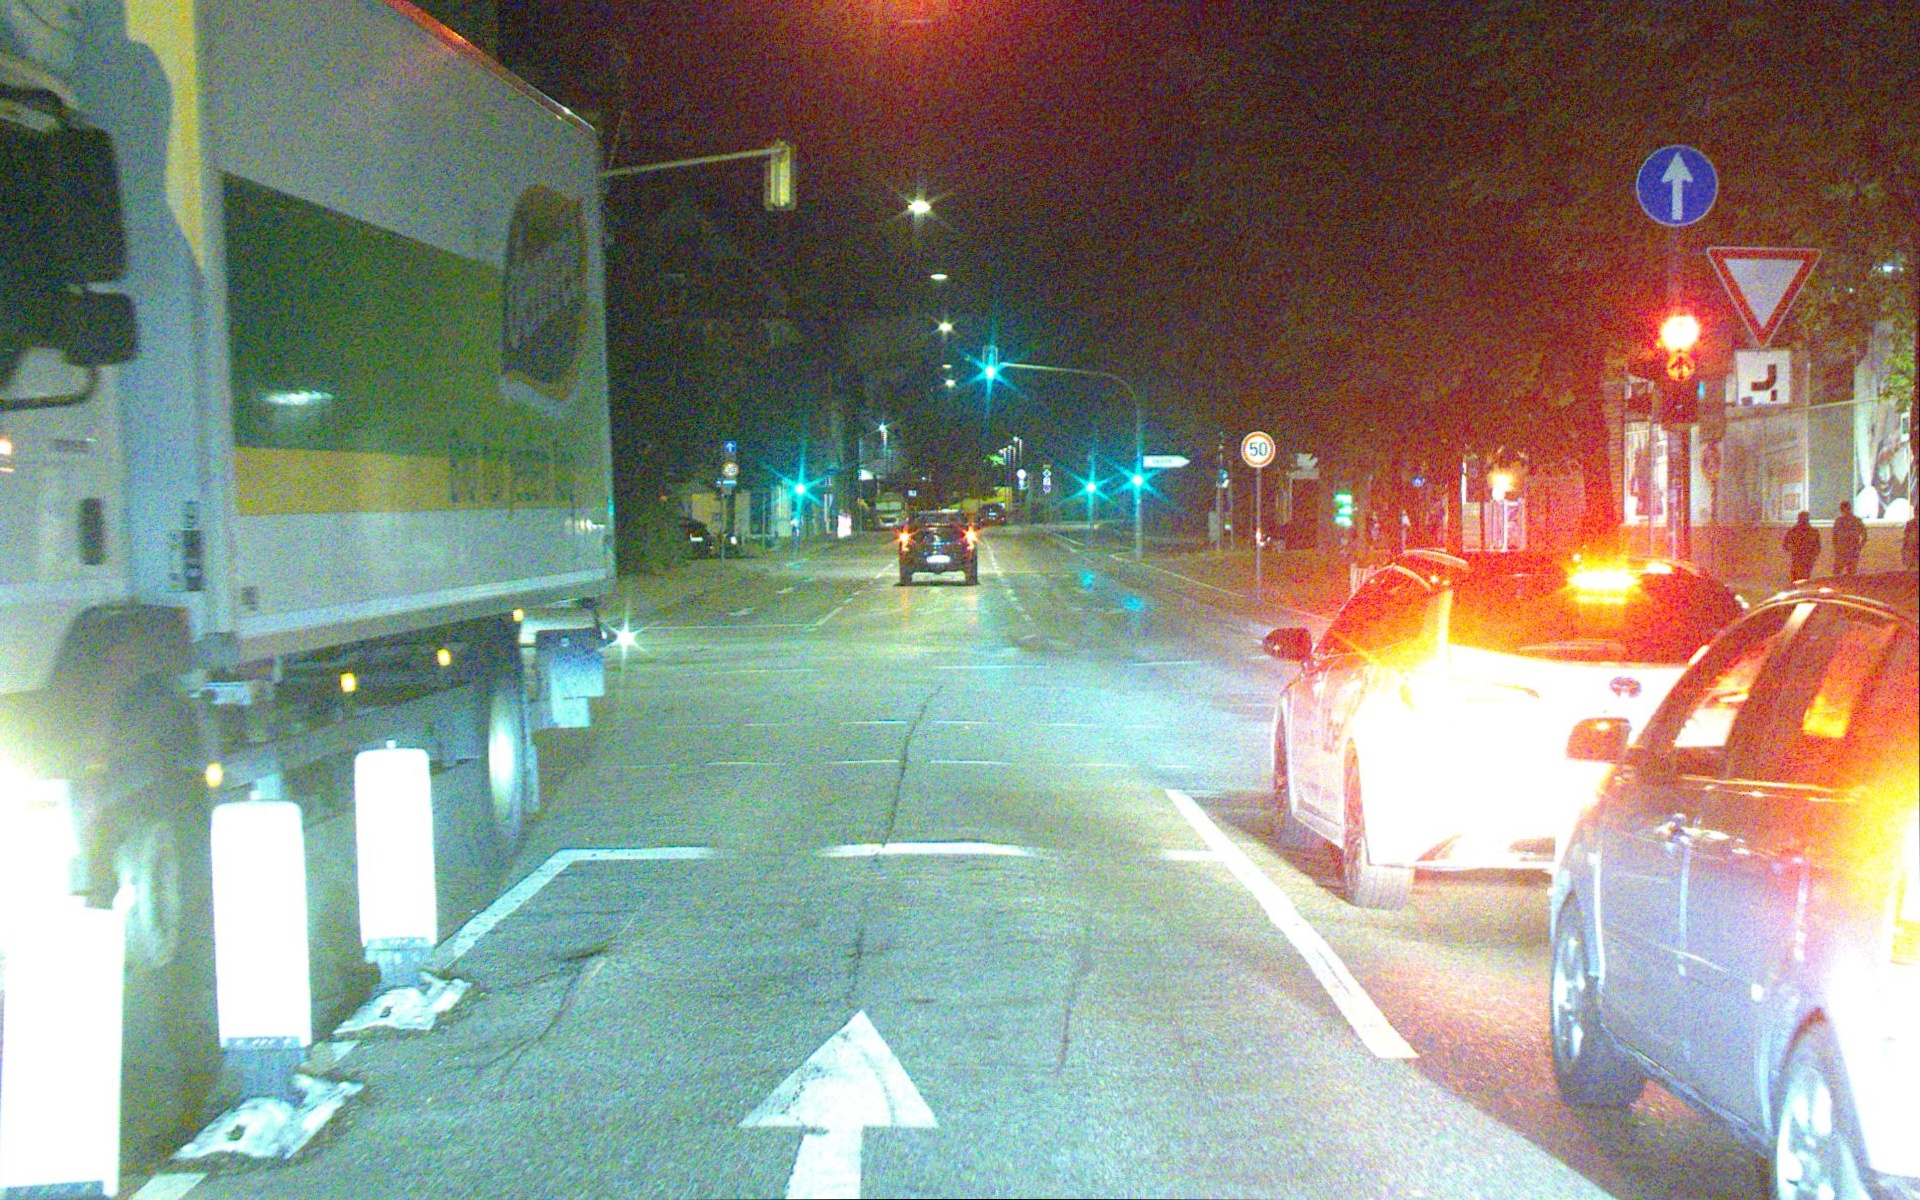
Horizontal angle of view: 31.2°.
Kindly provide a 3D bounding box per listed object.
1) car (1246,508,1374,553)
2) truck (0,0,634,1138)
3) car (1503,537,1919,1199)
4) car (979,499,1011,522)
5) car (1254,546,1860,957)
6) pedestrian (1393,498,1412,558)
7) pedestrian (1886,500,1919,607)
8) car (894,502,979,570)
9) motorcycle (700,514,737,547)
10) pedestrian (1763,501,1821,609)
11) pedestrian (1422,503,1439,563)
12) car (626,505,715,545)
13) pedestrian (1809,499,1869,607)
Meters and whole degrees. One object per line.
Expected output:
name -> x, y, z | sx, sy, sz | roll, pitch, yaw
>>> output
car -> 11.237, -2.240, 110.499 | 3.987, 1.381, 1.771 | -1, 2, 3
truck -> -3.378, -0.641, 13.337 | 2.755, 3.705, 10.113 | -1, 1, 2
car -> 2.418, 0.631, 7.923 | 1.637, 1.489, 4.000 | 2, 1, 0
car -> 2.409, -6.182, 237.817 | 1.993, 1.590, 4.001 | -1, 1, -2
car -> 2.368, 0.524, 14.696 | 1.729, 1.430, 4.211 | 2, 1, -1
pedestrian -> 14.858, -2.408, 115.519 | 0.531, 2.007, 0.670 | -1, 1, -1
pedestrian -> 15.954, -0.786, 57.049 | 0.901, 1.763, 0.907 | -1, 1, 0
car -> -0.596, -1.574, 84.470 | 1.993, 1.634, 4.000 | 0, 1, -2
motorcycle -> -9.086, -2.611, 129.213 | 0.781, 1.200, 2.450 | -1, 2, -19
pedestrian -> 13.774, -0.748, 56.918 | 0.714, 1.763, 0.907 | -1, 1, 0
pedestrian -> 15.898, -2.273, 116.188 | 0.487, 2.007, 0.551 | -1, 1, -1
car -> -11.143, -2.890, 132.128 | 1.803, 1.481, 4.000 | -2, 2, -31
pedestrian -> 14.589, -0.783, 57.053 | 0.738, 1.763, 0.907 | -1, 1, 0
